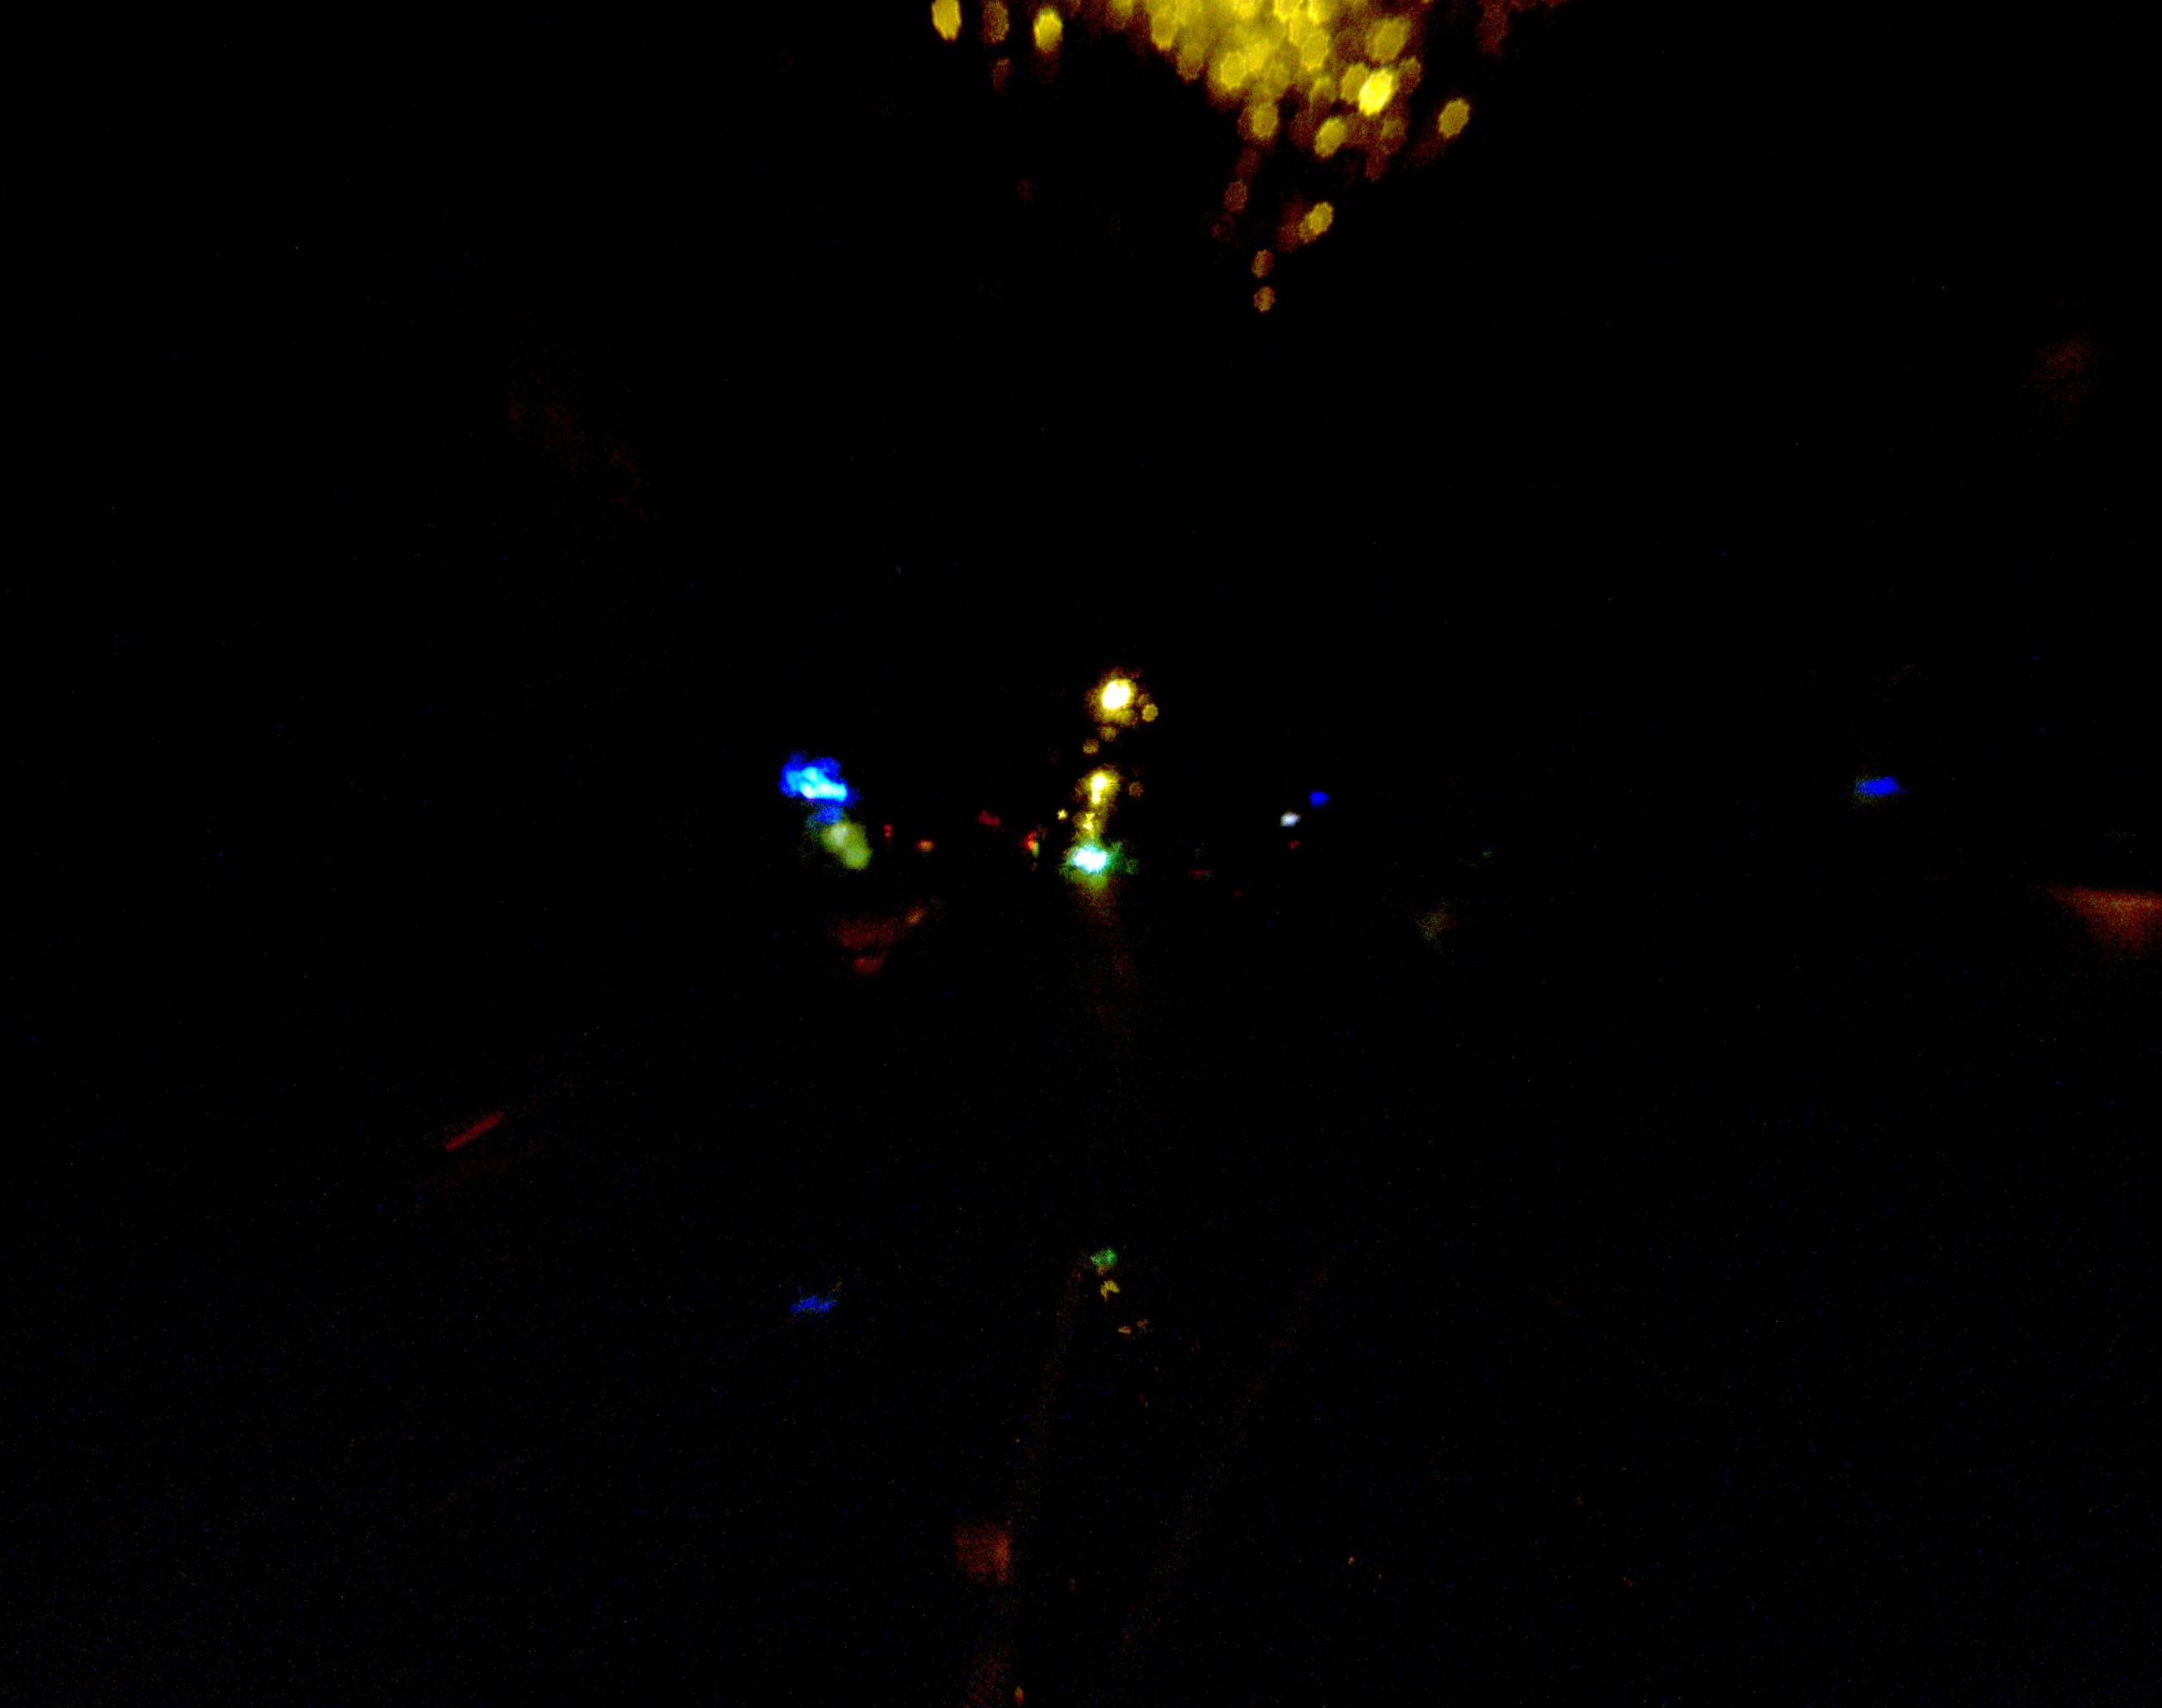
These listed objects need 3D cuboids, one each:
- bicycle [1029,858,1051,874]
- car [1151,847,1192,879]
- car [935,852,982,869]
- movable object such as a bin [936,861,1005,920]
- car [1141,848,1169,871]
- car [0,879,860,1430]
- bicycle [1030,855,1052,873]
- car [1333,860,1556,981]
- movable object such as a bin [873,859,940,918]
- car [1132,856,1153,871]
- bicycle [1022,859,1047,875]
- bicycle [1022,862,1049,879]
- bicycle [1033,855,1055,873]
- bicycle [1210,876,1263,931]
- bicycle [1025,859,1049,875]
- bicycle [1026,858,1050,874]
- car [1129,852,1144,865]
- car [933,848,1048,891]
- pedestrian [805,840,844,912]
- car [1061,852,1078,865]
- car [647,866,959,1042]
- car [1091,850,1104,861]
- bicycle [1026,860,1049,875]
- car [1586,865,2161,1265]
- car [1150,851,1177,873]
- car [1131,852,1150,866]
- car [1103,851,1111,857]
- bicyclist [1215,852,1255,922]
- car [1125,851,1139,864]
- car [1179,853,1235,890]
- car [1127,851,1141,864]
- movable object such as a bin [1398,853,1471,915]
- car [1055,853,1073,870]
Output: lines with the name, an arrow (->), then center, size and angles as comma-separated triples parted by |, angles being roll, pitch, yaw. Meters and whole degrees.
bicycle -> -3.027, 0.851, 55.709 | 1.532, 1.018, 0.366 | 5, 2, -1
car -> 5.517, 0.521, 47.026 | 2.001, 1.818, 5.206 | -1, 0, 1
car -> -11.301, 0.606, 70.284 | 3.996, 1.476, 1.895 | -2, 0, 2
movable object such as a bin -> -2.840, 0.915, 19.541 | 1.344, 1.421, 1.198 | -1, 1, -36
car -> 5.969, 0.439, 62.077 | 1.907, 1.818, 4.829 | -1, 0, 1
car -> -2.555, 0.959, 4.237 | 1.694, 1.490, 3.890 | 0, 0, -3
bicycle -> -2.996, 0.777, 56.839 | 1.532, 1.195, 0.366 | 5, 2, -1
car -> 5.360, 0.887, 11.777 | 1.676, 1.482, 3.721 | -2, 0, 1
movable object such as a bin -> -4.341, 0.833, 19.021 | 1.311, 1.421, 1.051 | 0, 1, 10
car -> 5.959, 0.924, 73.850 | 1.731, 1.384, 4.555 | -1, 0, 1
bicycle -> -3.125, 0.883, 50.767 | 1.531, 0.947, 0.366 | 6, 2, 8
bicycle -> -3.007, 1.061, 49.998 | 1.672, 0.947, 0.366 | 6, 2, 8
bicycle -> -2.766, 0.761, 57.287 | 1.532, 1.195, 0.366 | 5, 2, 3
bicycle -> 3.481, 1.077, 17.171 | 0.729, 1.066, 2.348 | 0, 0, 1
bicycle -> -2.999, 0.916, 52.073 | 1.533, 0.947, 0.366 | 5, 2, -3
bicycle -> -3.072, 0.870, 54.403 | 1.532, 1.018, 0.366 | 5, 2, 4
car -> 6.239, 0.496, 85.668 | 1.531, 1.445, 3.384 | -1, 0, 1
car -> -3.746, 0.642, 31.970 | 4.524, 1.522, 1.780 | 3, 1, 0
pedestrian -> -6.521, 0.548, 19.306 | 0.704, 1.778, 0.624 | 2, 0, 4
car -> -1.393, 0.528, 90.459 | 1.846, 1.498, 4.162 | 1, 0, 1
car -> -2.816, 0.926, 8.935 | 1.998, 1.455, 4.416 | 0, 0, 1
car -> 2.486, 0.228, 114.697 | 1.846, 1.687, 4.162 | 1, 0, 1
bicycle -> -2.988, 0.928, 52.522 | 1.533, 0.947, 0.366 | 5, 2, -3
car -> 5.353, 0.896, 4.676 | 1.779, 1.563, 4.134 | 0, 0, 1
car -> 5.714, 0.508, 52.946 | 1.573, 1.451, 3.720 | -1, 0, 1
car -> 6.250, 0.542, 80.025 | 1.731, 1.445, 4.273 | -1, 0, 1
car -> 6.662, 0.108, 192.222 | 1.877, 1.386, 4.075 | -1, -1, 4
bicyclist -> 3.487, 0.733, 17.221 | 0.720, 1.547, 0.895 | 0, 1, 0
car -> 6.409, 0.449, 95.880 | 1.697, 1.470, 3.964 | -1, -1, 2
car -> 5.669, 0.731, 34.668 | 1.771, 1.474, 4.772 | -4, 0, 1
car -> 6.439, 0.465, 91.849 | 1.696, 1.470, 3.385 | -1, -1, 5
movable object such as a bin -> 8.600, 0.699, 18.569 | 1.104, 1.445, 1.378 | 0, 1, -1
car -> -1.770, 0.720, 78.406 | 1.676, 1.712, 3.856 | 1, 0, 1
